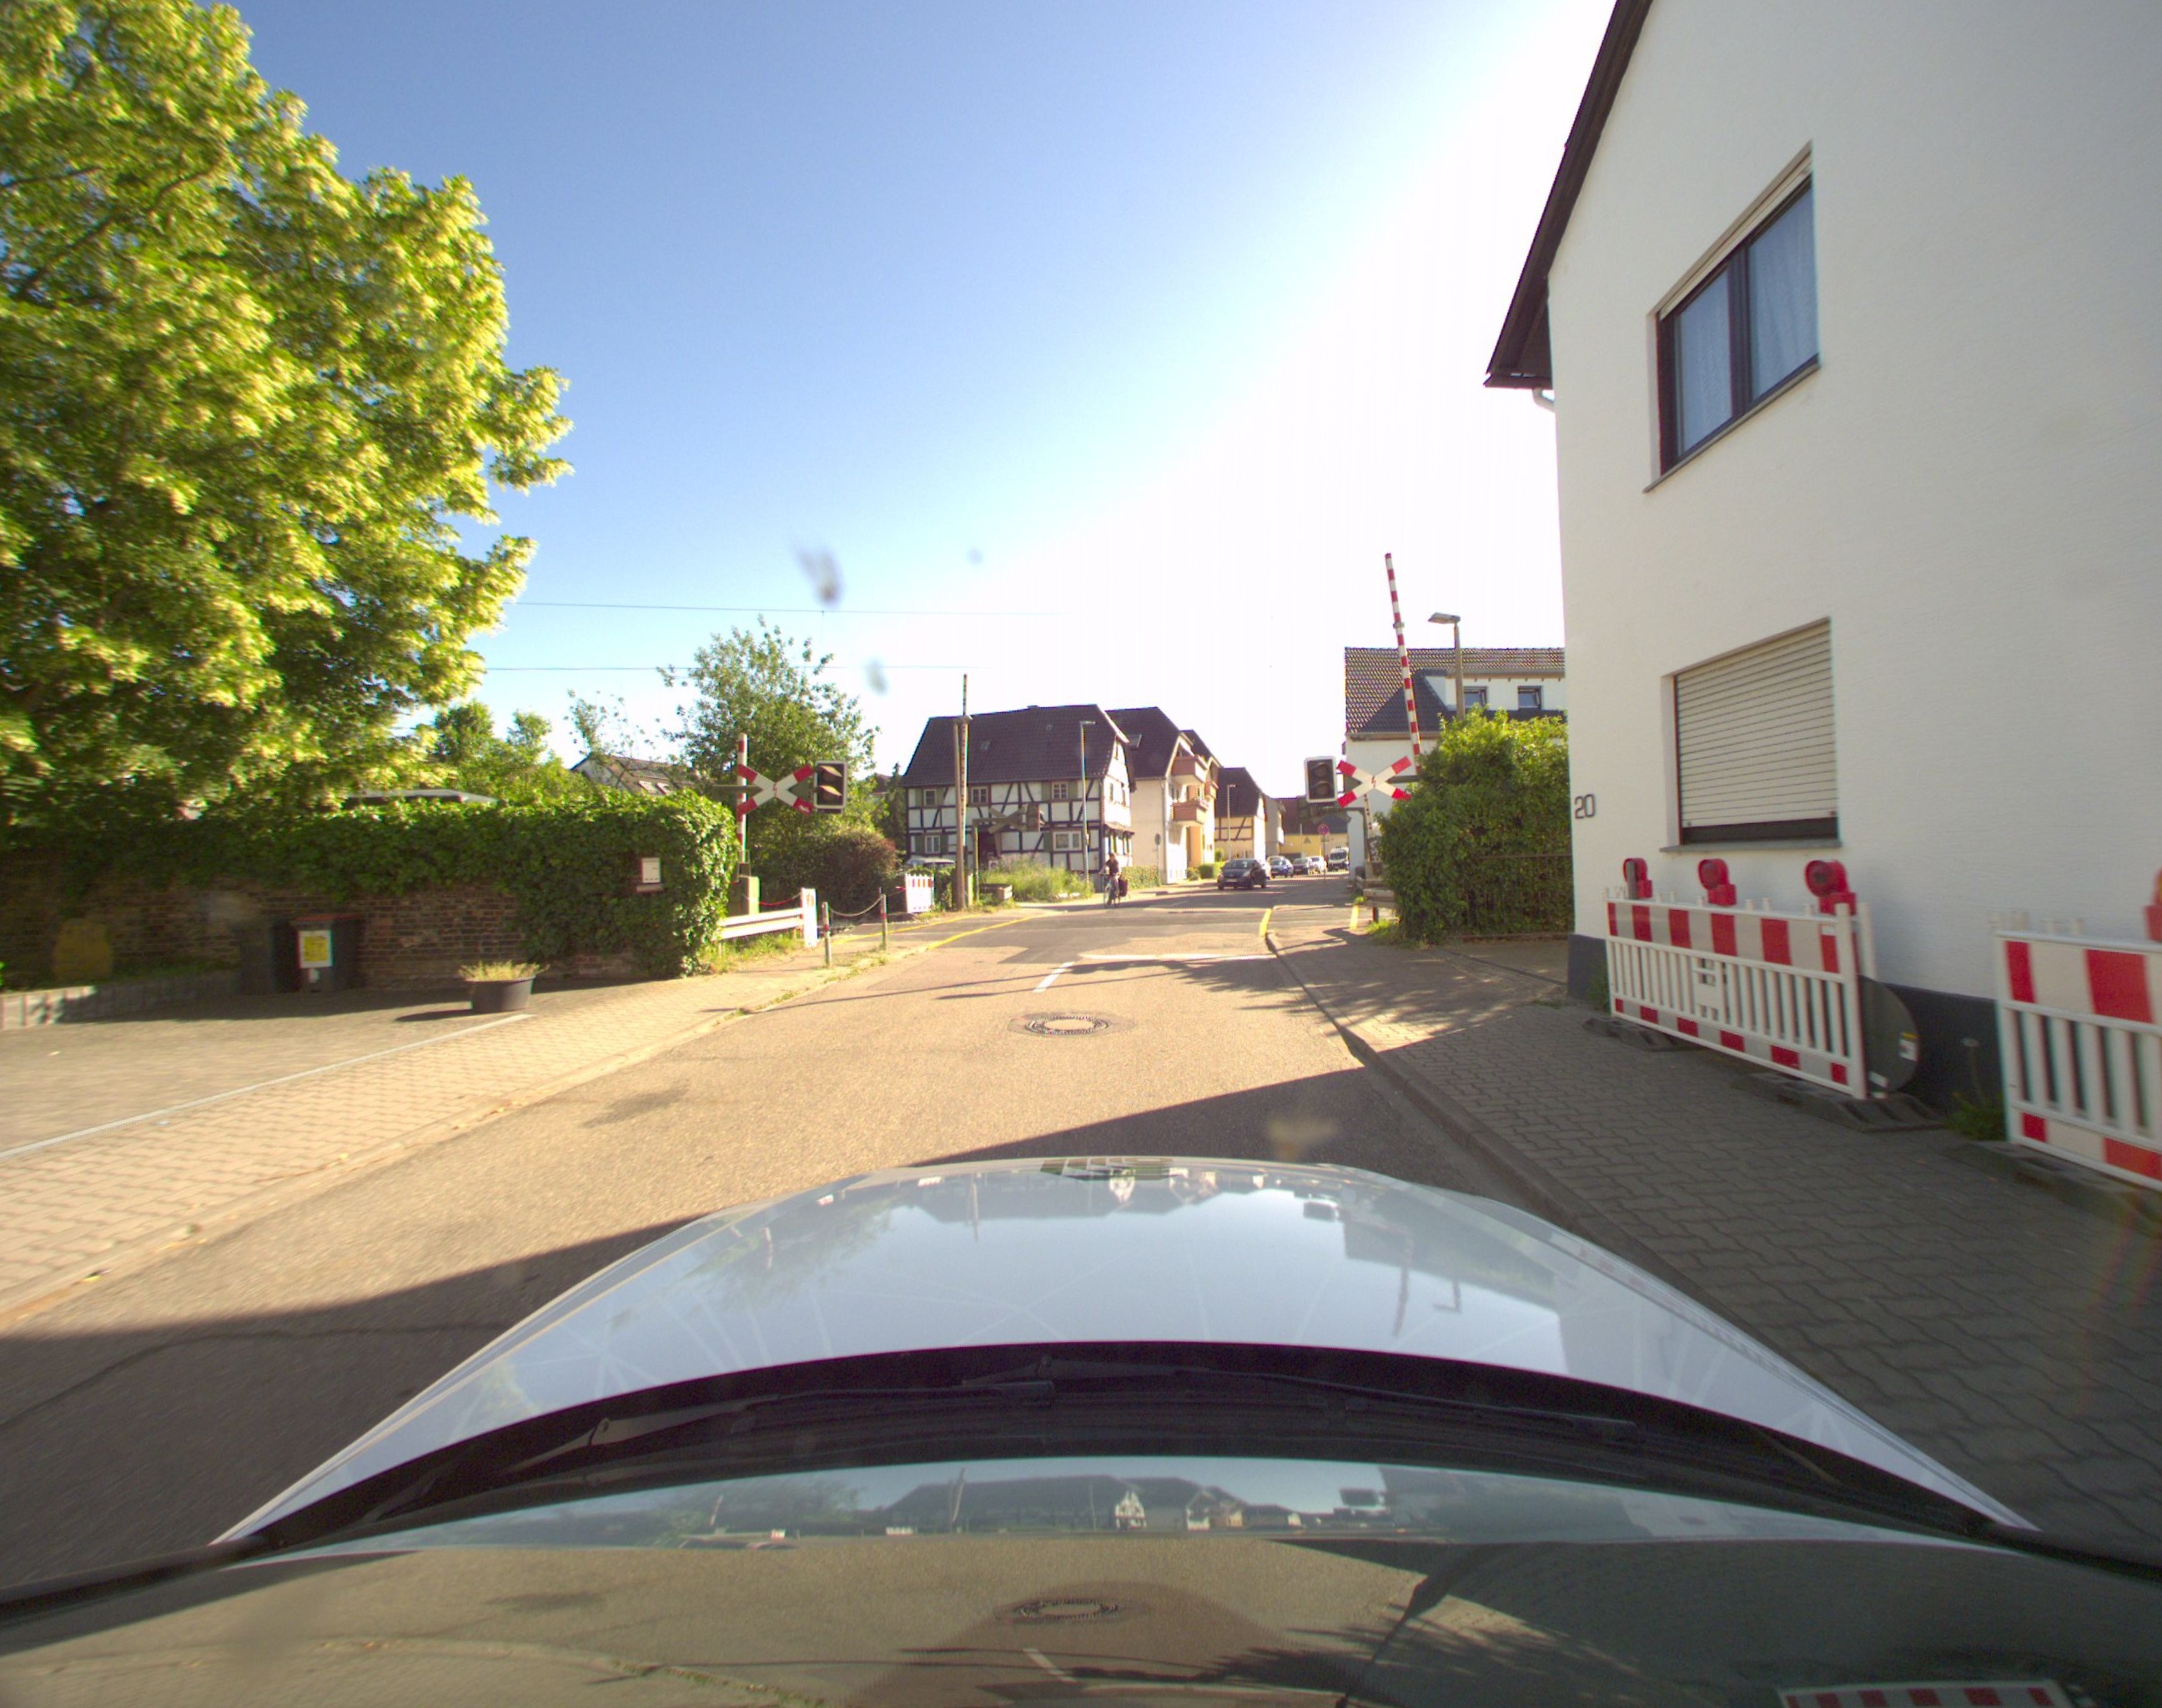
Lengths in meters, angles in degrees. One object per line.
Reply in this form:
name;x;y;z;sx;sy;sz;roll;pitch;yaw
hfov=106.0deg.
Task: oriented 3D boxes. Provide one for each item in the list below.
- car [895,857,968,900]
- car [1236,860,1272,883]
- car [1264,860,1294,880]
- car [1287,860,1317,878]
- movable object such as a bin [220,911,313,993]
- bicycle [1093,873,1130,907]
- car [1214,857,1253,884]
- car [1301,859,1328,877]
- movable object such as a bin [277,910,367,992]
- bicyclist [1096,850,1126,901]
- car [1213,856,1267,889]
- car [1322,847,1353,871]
car;-5.893;0.930;31.763;1.692;1.564;3.964;2;-2;-27
car;11.827;1.164;55.429;1.659;1.506;4.116;-2;-1;22
car;15.457;1.267;63.472;1.624;1.441;4.097;-2;-2;23
car;19.619;1.295;72.170;1.687;1.519;4.146;-3;-2;27
movable object such as a bin;-9.737;1.160;9.747;0.587;0.934;0.508;-1;-2;6
bicycle;0.966;1.100;25.433;0.878;1.005;2.067;-2;-2;9
car;9.623;0.992;51.079;1.617;1.506;3.873;-4;-2;21
car;21.879;1.267;76.203;1.658;1.572;3.989;-3;-2;27
movable object such as a bin;-9.119;1.151;9.798;0.587;0.934;0.508;-1;-2;6
bicyclist;0.949;0.677;25.430;0.844;1.541;0.874;-2;-1;6
car;7.824;0.870;39.840;1.670;1.510;3.676;-2;-1;26
car;27.731;0.572;87.909;2.057;2.394;5.240;-3;-2;28
